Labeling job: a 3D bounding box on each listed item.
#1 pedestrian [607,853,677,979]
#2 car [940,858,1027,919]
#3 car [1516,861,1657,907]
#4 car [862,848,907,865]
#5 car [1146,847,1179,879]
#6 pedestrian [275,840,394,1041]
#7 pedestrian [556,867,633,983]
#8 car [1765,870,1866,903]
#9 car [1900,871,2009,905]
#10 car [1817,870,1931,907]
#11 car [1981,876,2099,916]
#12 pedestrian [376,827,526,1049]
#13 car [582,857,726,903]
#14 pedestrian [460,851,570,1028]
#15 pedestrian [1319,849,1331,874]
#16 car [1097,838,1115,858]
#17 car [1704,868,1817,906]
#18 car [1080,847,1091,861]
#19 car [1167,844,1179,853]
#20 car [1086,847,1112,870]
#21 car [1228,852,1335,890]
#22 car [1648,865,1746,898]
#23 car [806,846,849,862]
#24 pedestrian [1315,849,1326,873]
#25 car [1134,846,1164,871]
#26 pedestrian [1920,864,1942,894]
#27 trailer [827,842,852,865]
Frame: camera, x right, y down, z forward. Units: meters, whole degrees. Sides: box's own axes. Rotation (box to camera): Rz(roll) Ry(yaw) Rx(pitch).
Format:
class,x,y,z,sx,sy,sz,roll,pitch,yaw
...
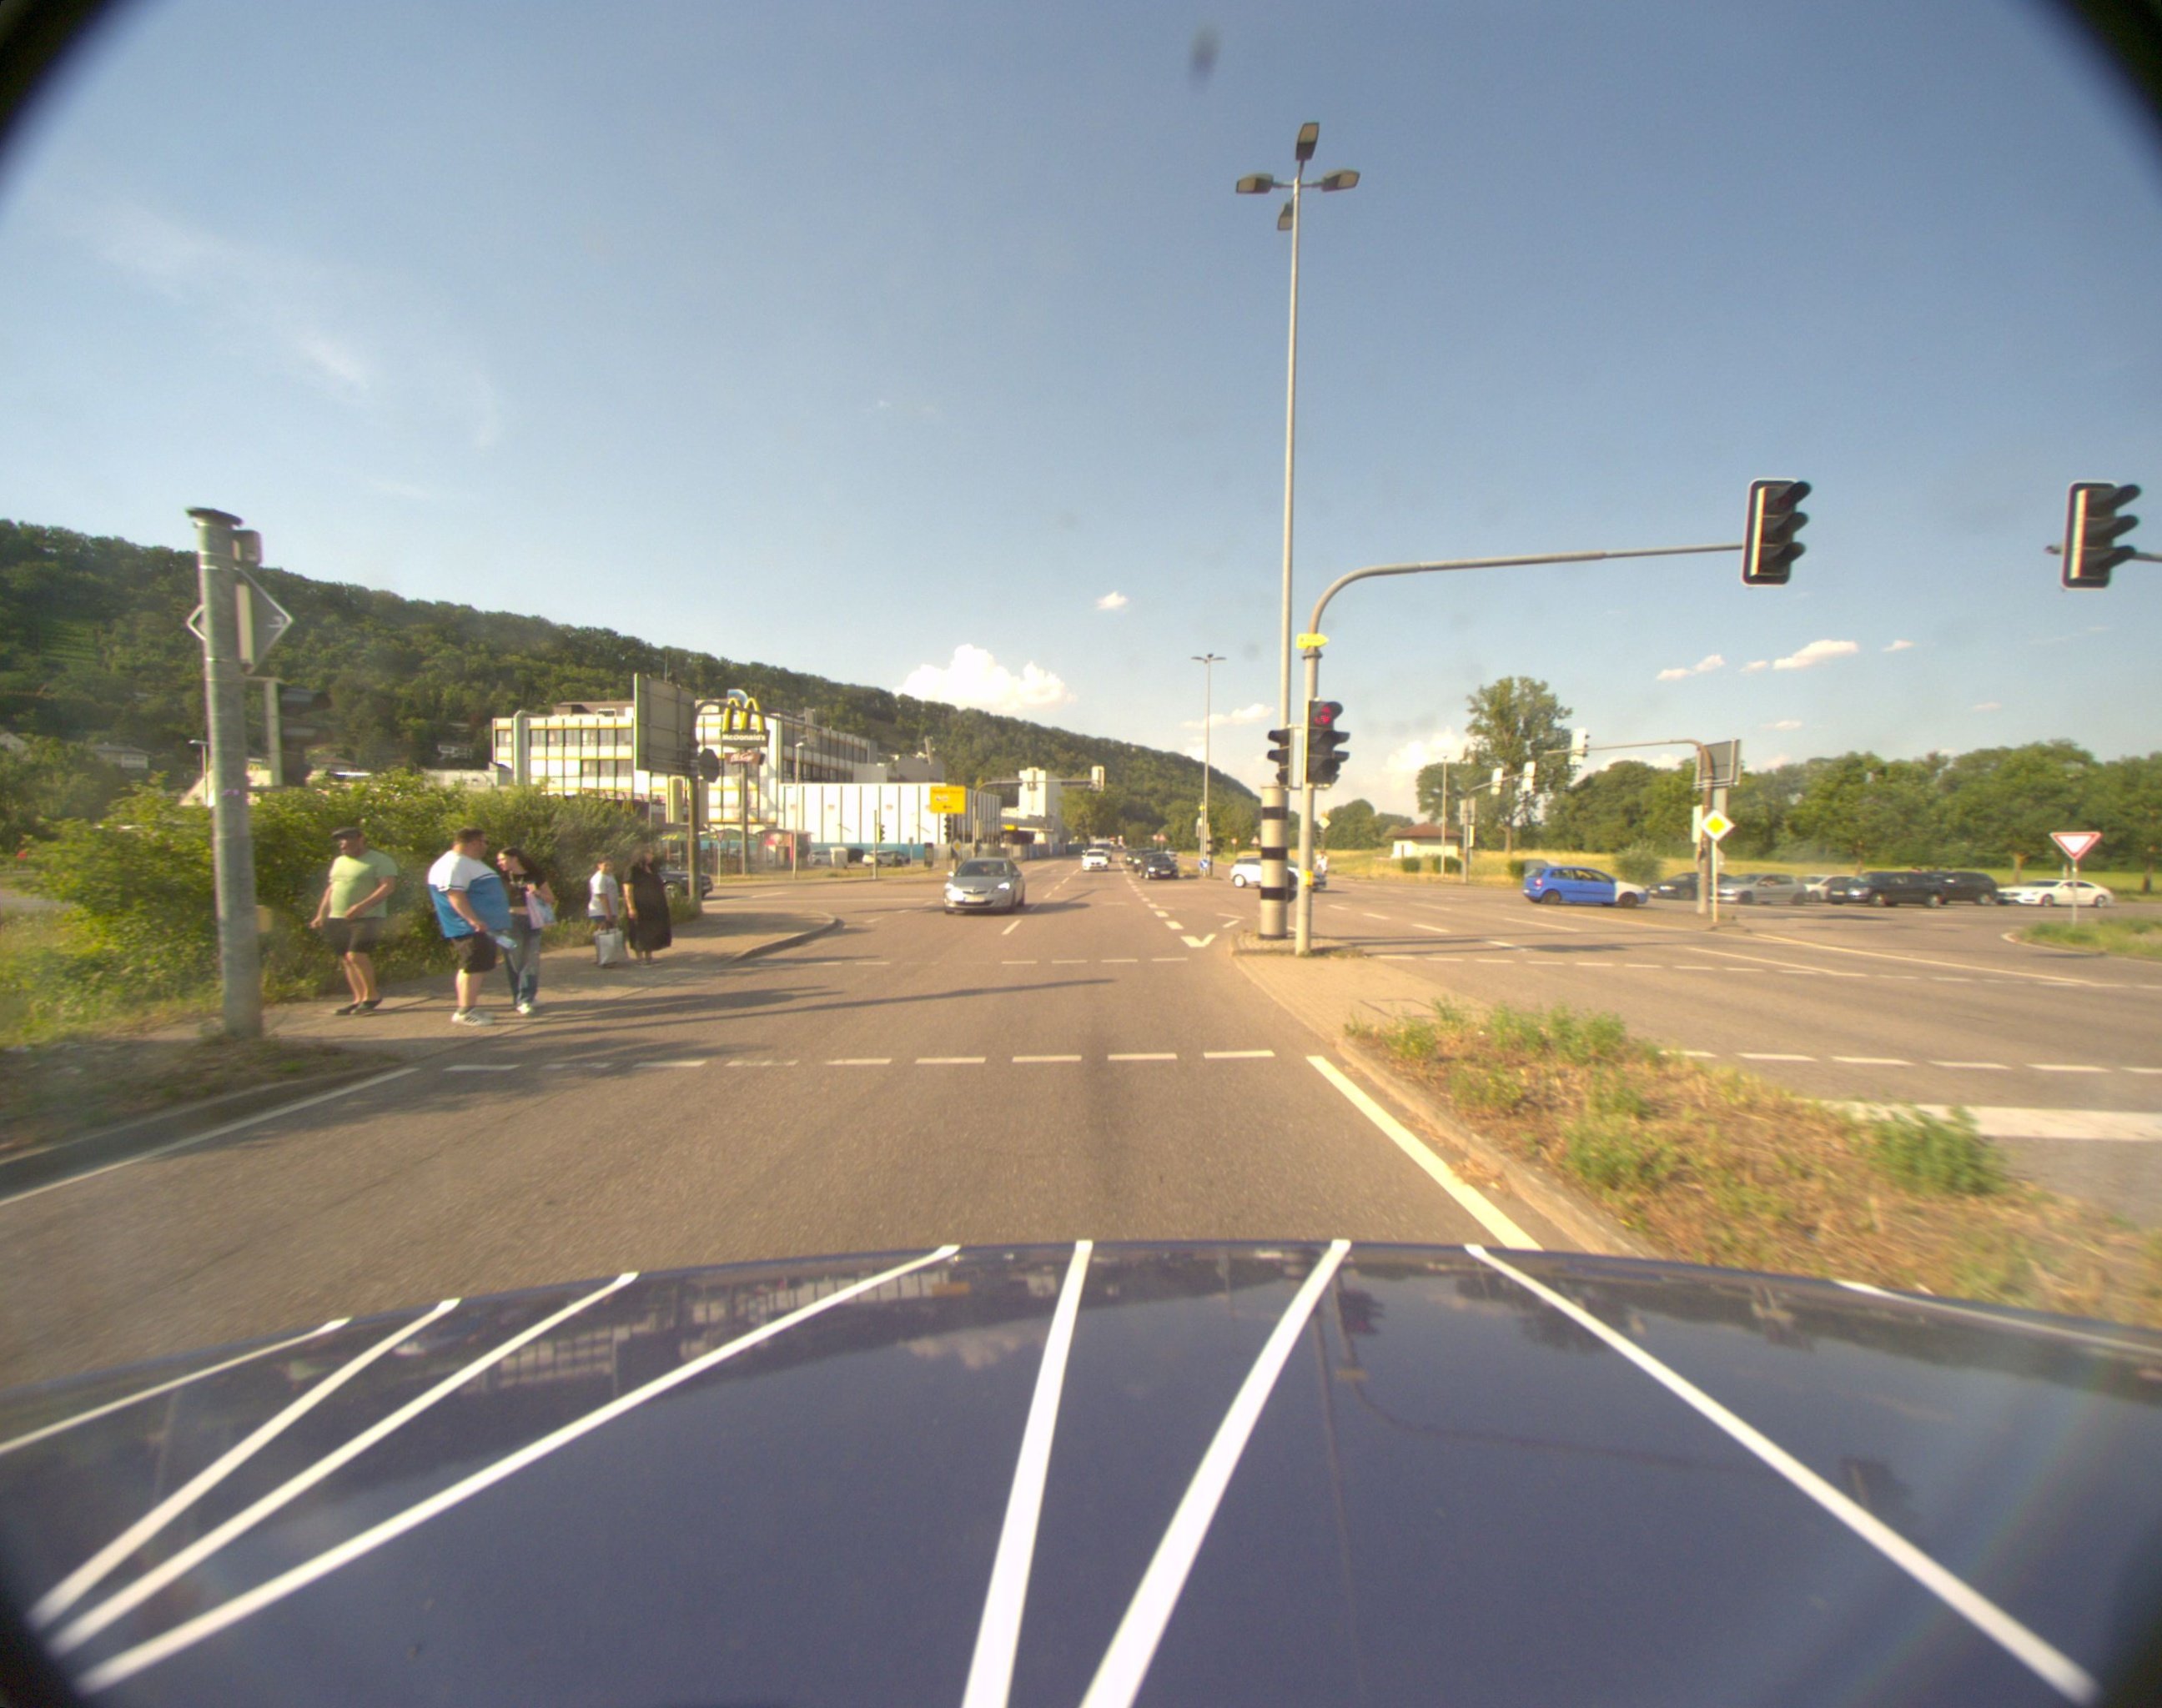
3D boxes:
class,x,y,z,sx,sy,sz,roll,pitch,yaw
pedestrian,-5.845,0.808,10.144,0.573,1.606,0.622,1,2,-3
car,-2.515,0.854,20.497,1.690,1.383,3.883,0,2,2
car,18.269,1.059,27.653,3.885,1.491,1.694,1,1,14
car,-19.442,0.228,75.299,1.872,1.496,3.914,0,2,38
car,4.369,0.447,41.078,1.617,1.565,4.000,-1,1,5
pedestrian,-6.823,0.759,6.962,0.532,1.740,0.537,4,2,6
pedestrian,-6.398,0.917,10.017,0.573,1.449,0.622,-1,2,-3
car,36.520,1.599,37.801,3.881,1.412,1.766,-2,2,-13
car,43.567,1.669,37.942,3.880,1.412,1.766,-2,2,-9
car,35.578,1.531,34.121,3.881,1.412,1.766,-2,2,-13
car,48.800,2.118,38.708,3.998,1.762,1.748,-1,2,-4
pedestrian,-5.648,0.705,6.865,0.620,1.872,0.861,1,2,0
car,-16.484,0.981,29.463,4.465,1.576,2.000,-1,2,5
pedestrian,-5.649,0.824,7.610,0.596,1.673,0.633,2,2,0
pedestrian,16.166,0.499,50.412,0.655,1.597,0.891,-1,2,23
car,2.749,-0.659,85.522,1.795,2.155,4.588,0,2,-1
car,29.896,1.410,33.471,3.881,1.412,1.766,-2,2,-13
car,0.752,-0.076,125.263,1.795,2.155,4.588,0,2,-1
car,16.389,-1.046,135.640,1.712,1.426,4.144,2,2,2
car,1.364,0.272,56.695,1.825,1.552,3.999,-1,1,2
car,8.381,0.668,32.016,1.766,1.468,4.178,-1,1,-36
car,29.950,1.311,36.974,3.881,1.352,1.634,-2,2,-13
car,-25.247,-0.030,75.888,1.693,1.447,3.782,0,2,34
pedestrian,16.225,0.452,51.452,0.655,1.597,0.838,-1,2,23
car,4.699,0.262,53.063,1.858,1.565,4.144,-1,1,2
pedestrian,52.351,1.523,46.793,0.696,1.748,0.722,-2,2,-22
trailer,-21.329,-0.034,67.093,1.351,1.936,3.472,1,0,-30
